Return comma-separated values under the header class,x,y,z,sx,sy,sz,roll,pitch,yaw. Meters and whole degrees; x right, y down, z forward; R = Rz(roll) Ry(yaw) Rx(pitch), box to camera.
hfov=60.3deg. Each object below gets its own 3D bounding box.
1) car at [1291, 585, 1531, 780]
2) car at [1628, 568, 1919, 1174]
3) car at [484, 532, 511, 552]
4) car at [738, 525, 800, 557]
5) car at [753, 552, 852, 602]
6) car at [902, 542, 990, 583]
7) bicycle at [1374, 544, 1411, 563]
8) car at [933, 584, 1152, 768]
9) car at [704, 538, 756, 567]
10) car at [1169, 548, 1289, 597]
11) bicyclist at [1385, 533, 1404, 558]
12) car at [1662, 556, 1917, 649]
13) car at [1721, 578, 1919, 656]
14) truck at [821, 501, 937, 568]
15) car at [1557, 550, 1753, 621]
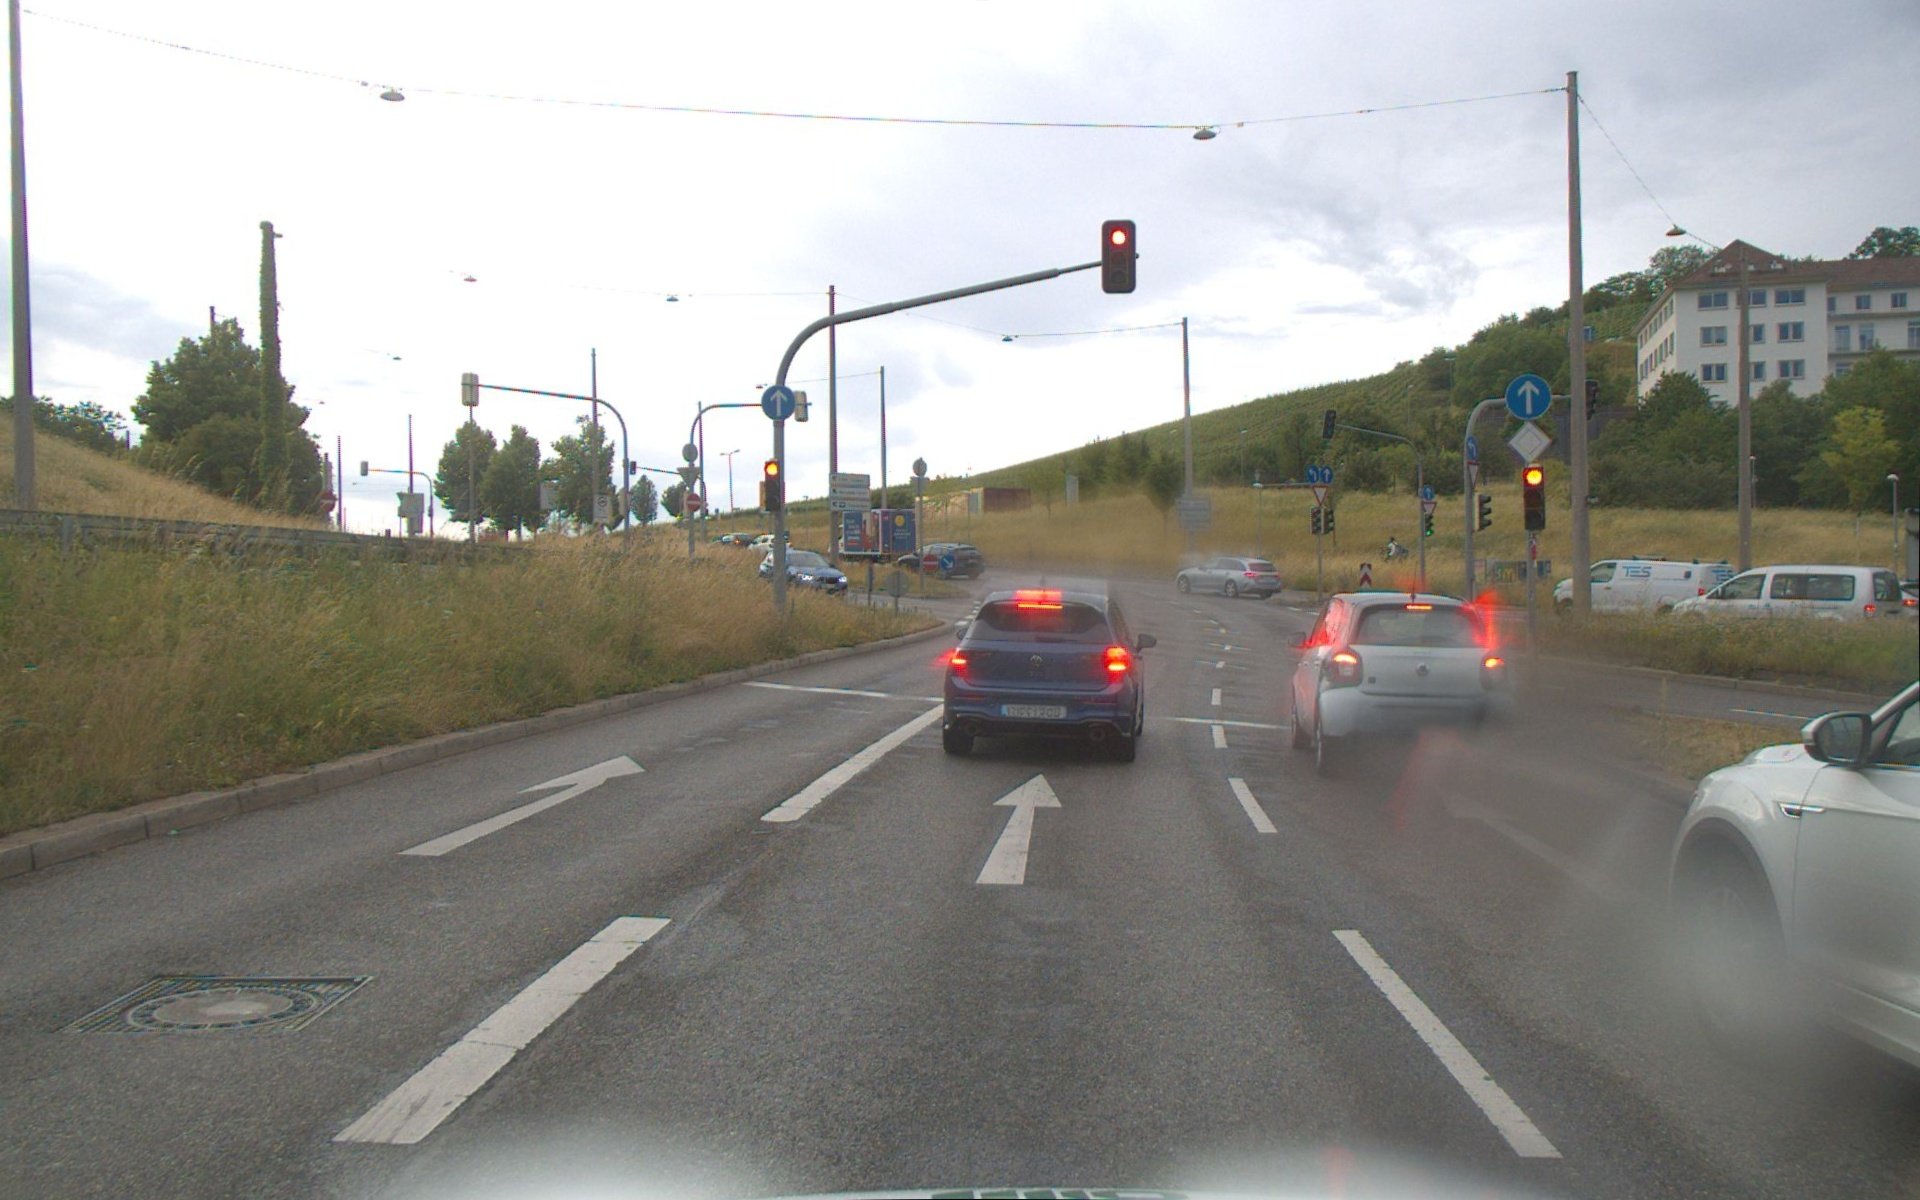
class,x,y,z,sx,sy,sz,roll,pitch,yaw
car,3.953,0.664,14.979,1.622,1.529,3.453,1,0,7
car,3.353,0.719,4.090,1.678,1.580,4.229,1,0,0
car,-45.176,-5.657,161.458,1.734,1.735,3.703,3,1,-27
car,-11.298,-3.456,97.602,1.974,1.688,4.496,1,0,-31
car,-5.060,-0.706,52.655,1.675,1.501,4.254,1,0,-27
car,-0.633,-1.647,73.286,1.974,1.688,4.306,1,0,-31
bicycle,19.377,-2.084,74.124,0.514,0.788,1.599,3,1,-38
car,0.900,0.611,15.761,1.786,1.486,3.811,1,1,7
car,-15.038,-3.079,107.942,1.970,1.688,4.504,1,0,-27
car,9.936,-0.996,61.375,1.974,1.688,4.496,1,0,-31
bicyclist,19.447,-2.424,74.083,0.519,1.065,0.573,3,1,-38
car,17.843,0.045,35.778,1.802,1.882,4.636,1,0,-37
car,19.979,0.361,37.632,1.979,1.649,4.464,1,0,-37
truck,-4.226,-3.406,85.251,3.227,3.127,6.108,3,1,-33
car,19.201,-0.386,45.910,2.108,1.826,4.690,1,0,-31
